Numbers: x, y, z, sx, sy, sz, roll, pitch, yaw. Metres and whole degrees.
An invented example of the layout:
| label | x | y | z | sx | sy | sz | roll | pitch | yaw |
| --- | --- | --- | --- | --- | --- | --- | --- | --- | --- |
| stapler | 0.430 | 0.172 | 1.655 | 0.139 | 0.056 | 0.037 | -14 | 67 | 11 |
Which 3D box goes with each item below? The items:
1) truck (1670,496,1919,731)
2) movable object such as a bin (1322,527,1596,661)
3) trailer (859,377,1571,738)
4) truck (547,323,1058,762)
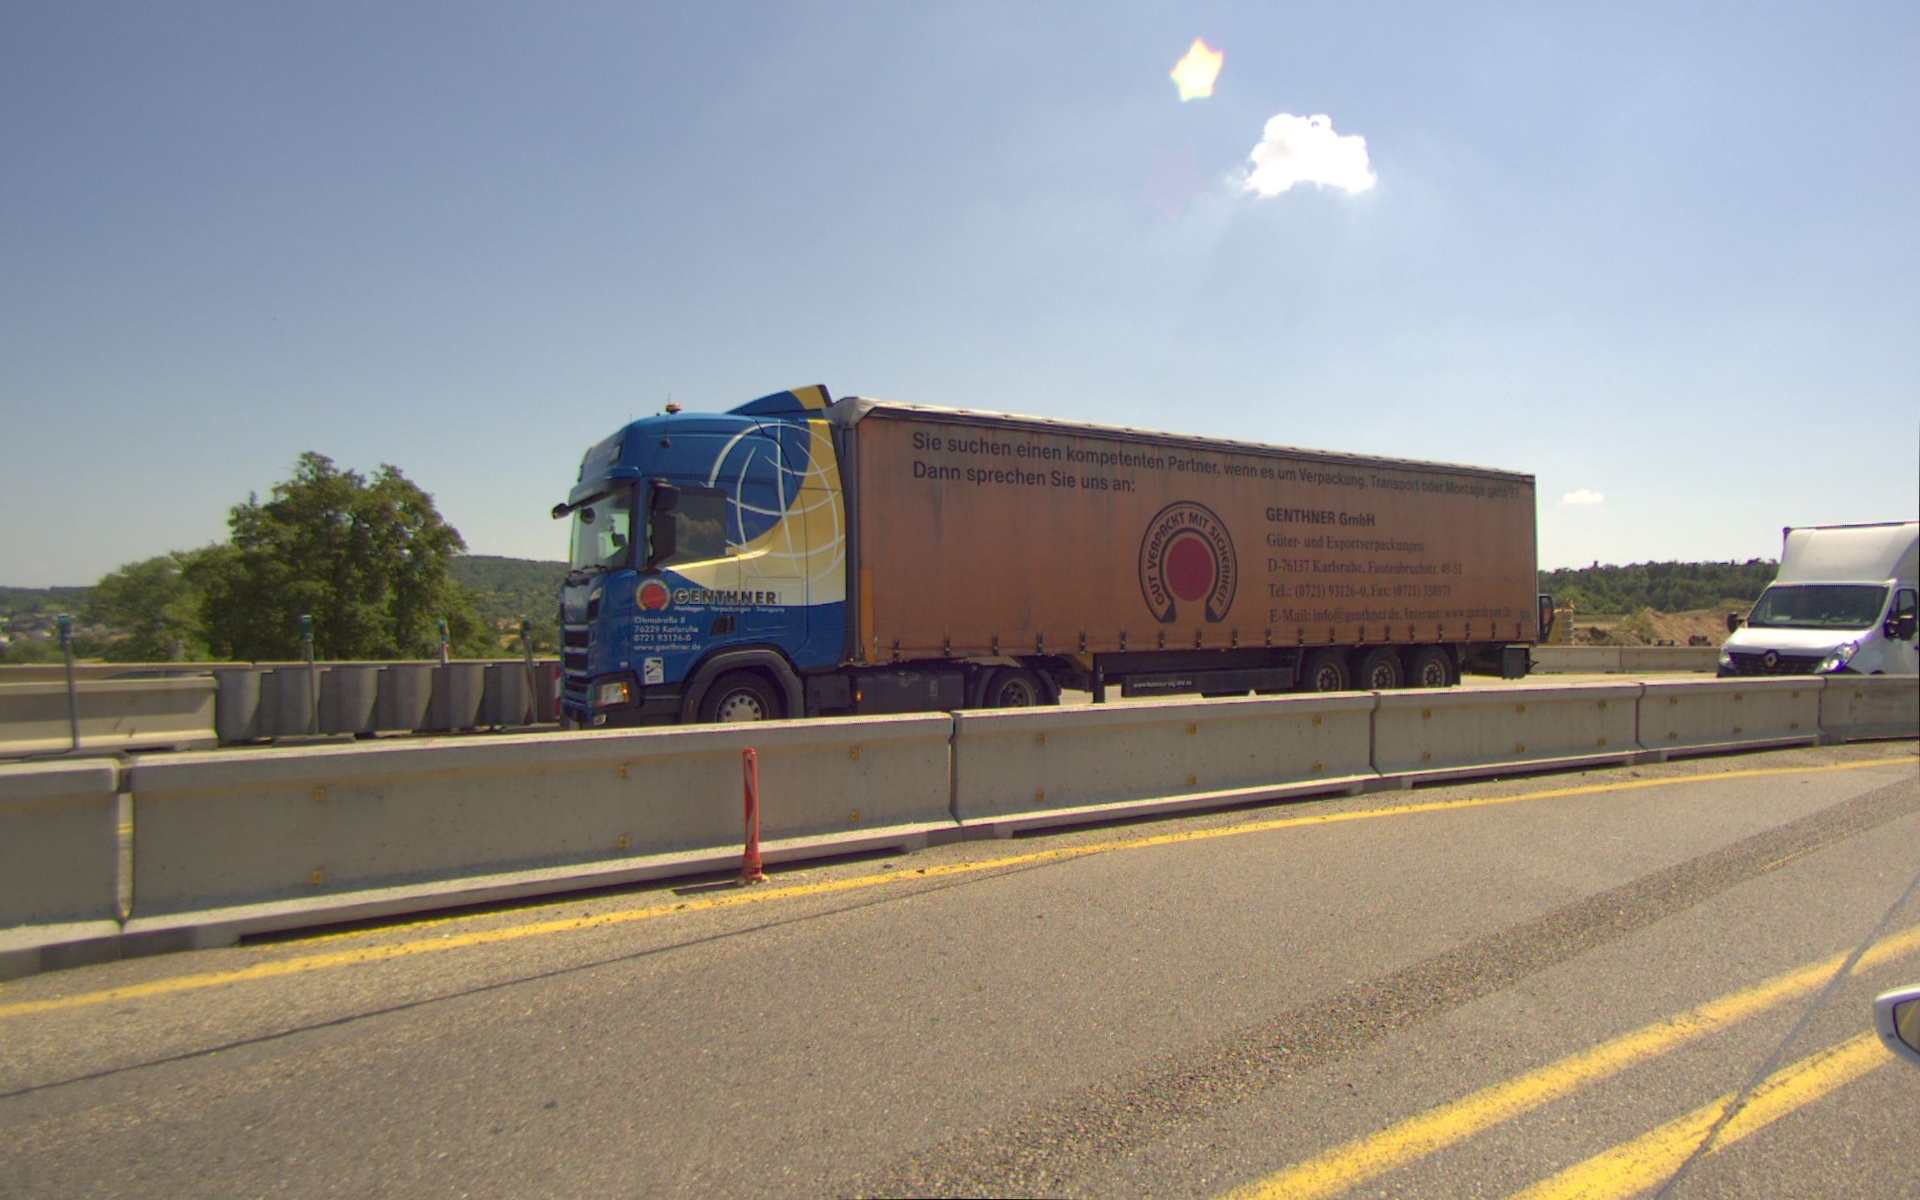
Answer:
| label | x | y | z | sx | sy | sz | roll | pitch | yaw |
| --- | --- | --- | --- | --- | --- | --- | --- | --- | --- |
| truck | 15.708 | 0.261 | 17.147 | 6.827 | 3.426 | 2.574 | 1 | 0 | -22 |
| movable object such as a bin | 17.797 | -0.113 | 35.868 | 9.173 | 4.387 | 2.924 | 1 | 0 | -16 |
| trailer | 4.833 | -0.374 | 16.068 | 12.910 | 4.207 | 2.574 | 1 | 0 | -30 |
| truck | -1.773 | -0.494 | 12.054 | 5.487 | 4.135 | 2.529 | 1 | 0 | -34 |
